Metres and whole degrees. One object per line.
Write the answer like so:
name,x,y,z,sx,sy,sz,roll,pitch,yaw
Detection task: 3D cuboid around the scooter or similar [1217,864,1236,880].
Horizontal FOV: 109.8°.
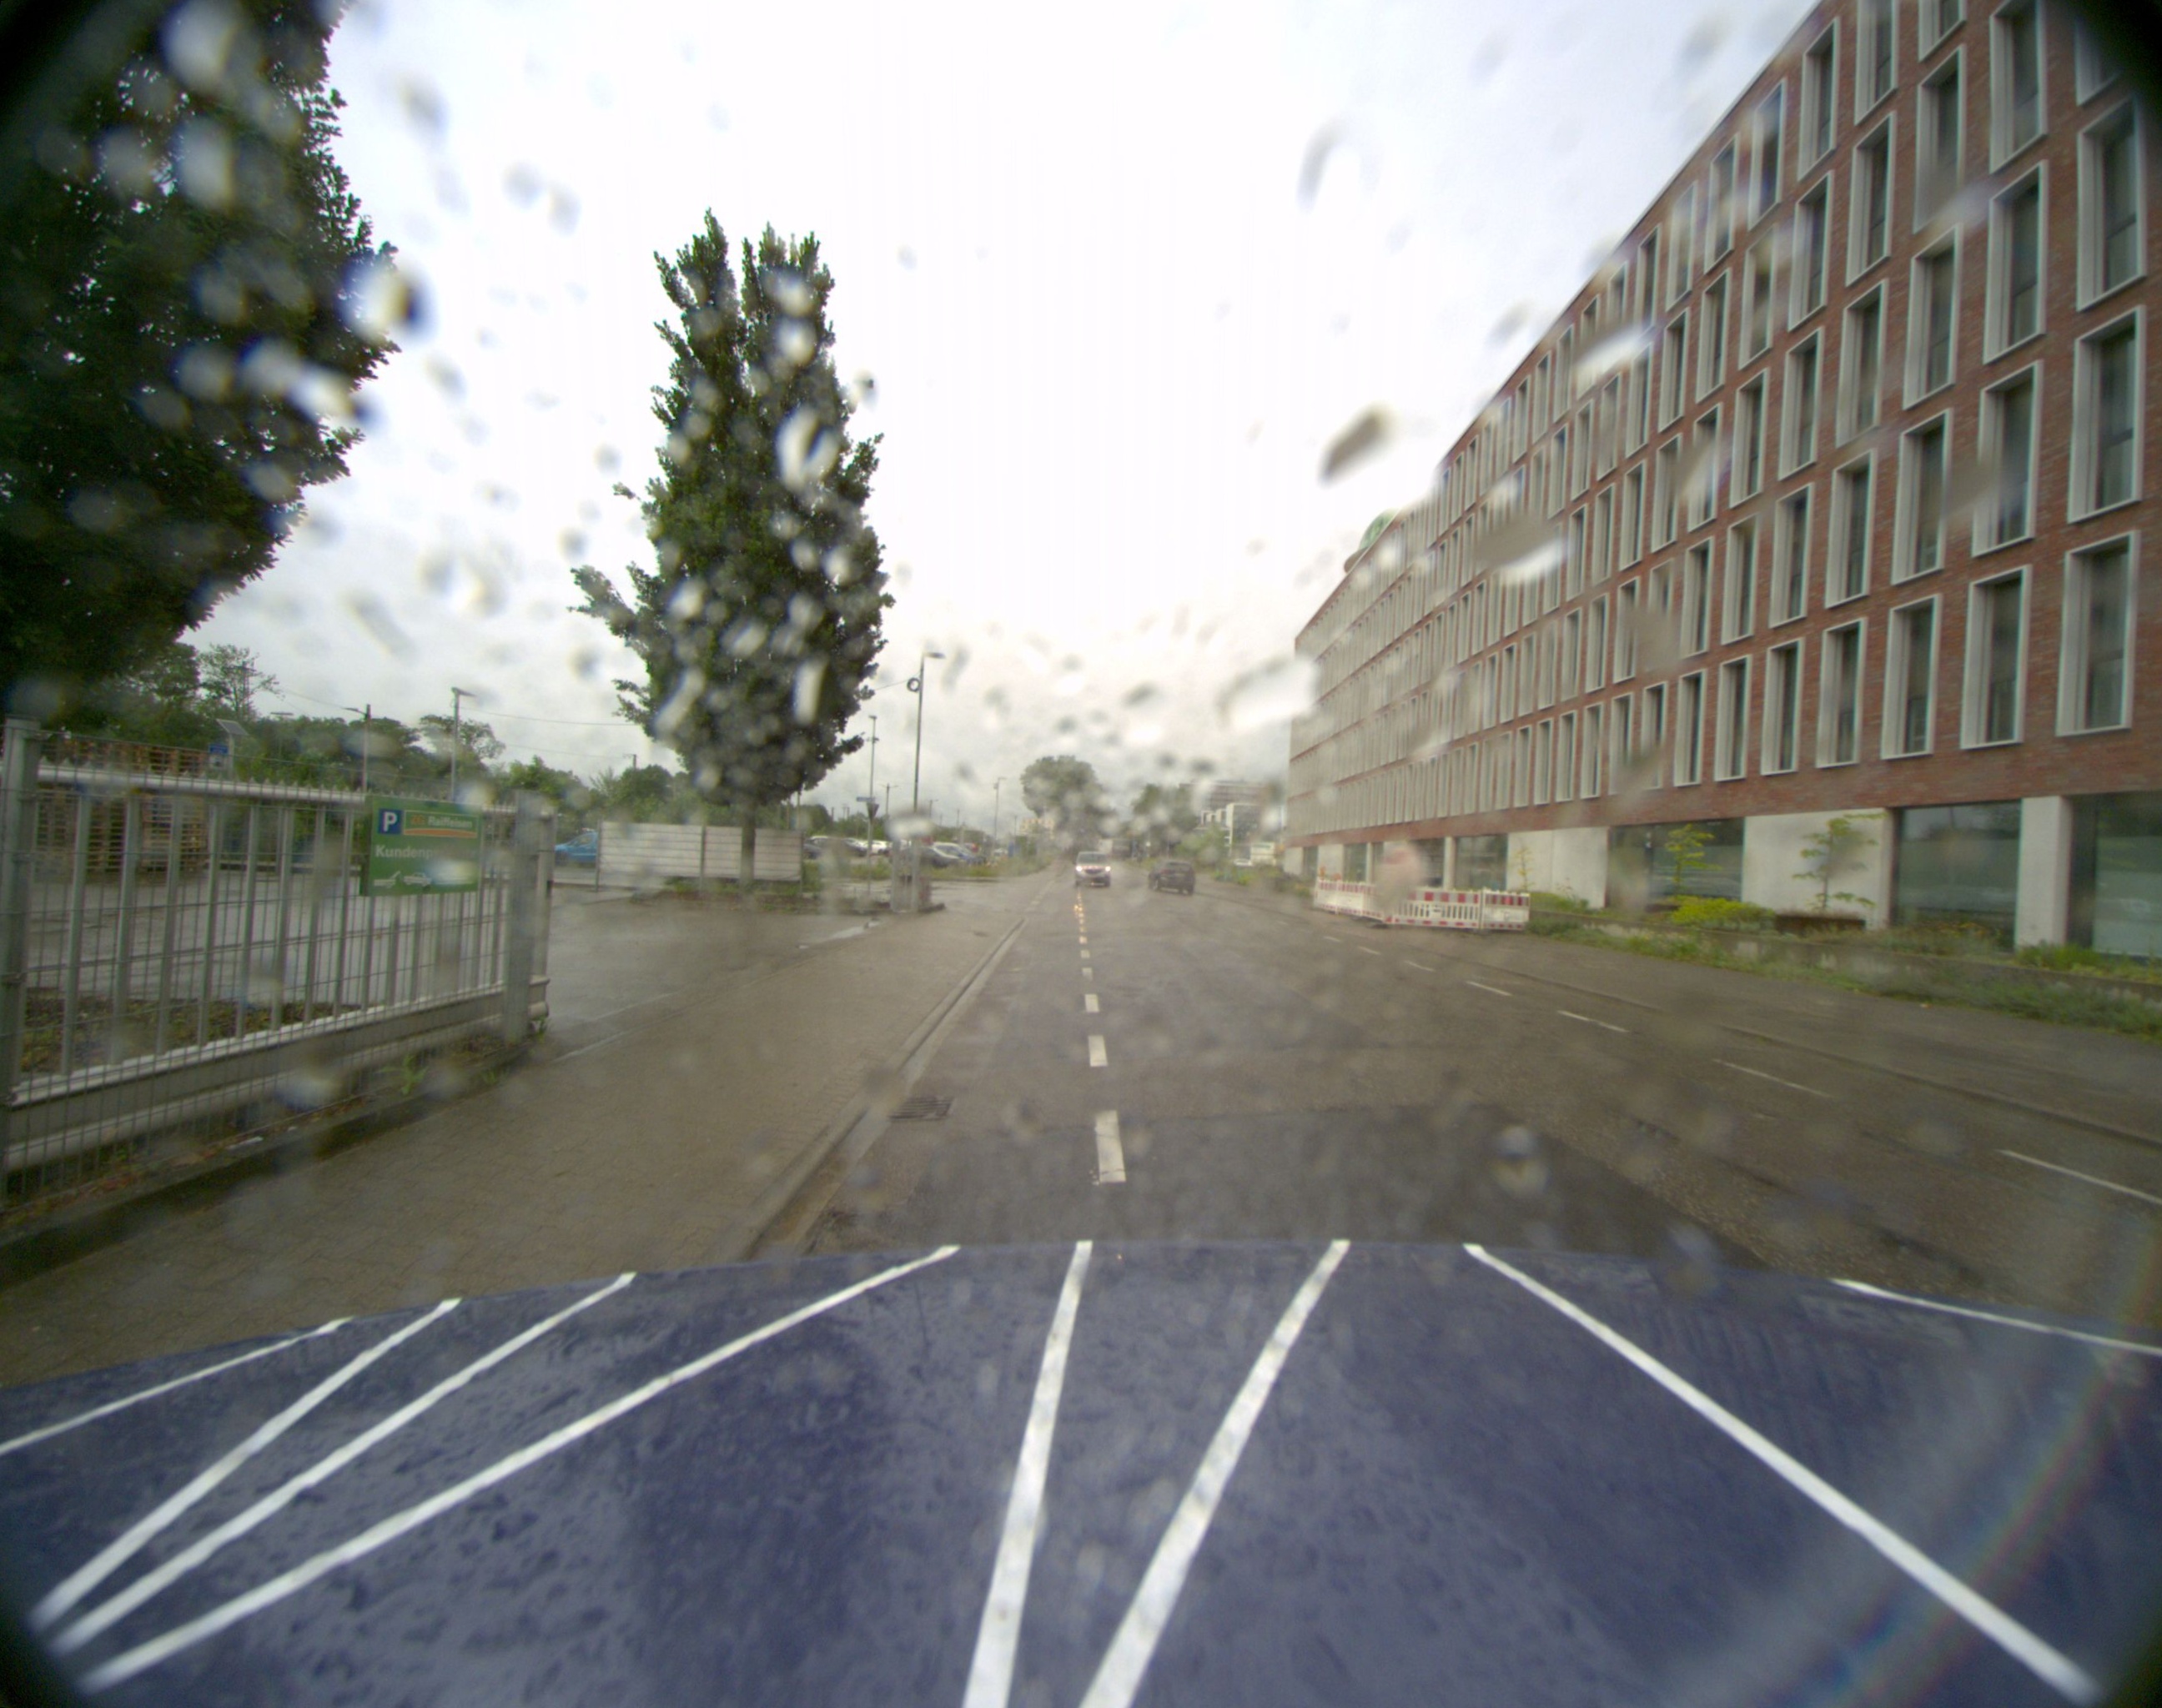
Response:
scooter or similar,11.978,1.481,62.509,1.316,1.223,0.509,4,1,38

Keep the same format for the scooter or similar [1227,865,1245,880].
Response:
scooter or similar,12.526,1.506,61.441,1.319,1.171,0.467,4,1,6

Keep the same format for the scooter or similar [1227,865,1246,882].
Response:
scooter or similar,12.192,1.532,59.584,1.321,1.171,0.467,4,1,-12

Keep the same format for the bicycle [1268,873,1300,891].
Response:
bicycle,12.884,1.751,48.258,1.864,1.071,0.544,1,1,-1

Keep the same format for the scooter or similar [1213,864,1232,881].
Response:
scooter or similar,11.044,1.415,59.181,1.317,1.223,0.468,4,1,29

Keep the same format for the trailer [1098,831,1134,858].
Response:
trailer,6.812,-1.686,143.072,3.297,4.627,13.751,4,1,16

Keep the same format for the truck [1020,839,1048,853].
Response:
truck,-8.893,-1.469,143.950,5.047,2.389,2.109,2,1,-2

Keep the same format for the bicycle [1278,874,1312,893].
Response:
bicycle,12.937,1.776,45.949,1.864,1.071,0.544,1,1,-1

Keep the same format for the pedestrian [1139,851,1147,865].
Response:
pedestrian,7.869,0.453,96.841,0.911,1.708,1.026,3,1,0

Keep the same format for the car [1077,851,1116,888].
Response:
car,0.749,0.765,38.948,1.838,1.714,4.172,3,0,0

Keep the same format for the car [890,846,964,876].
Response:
car,-9.322,0.406,46.269,4.231,1.392,1.888,5,1,-8

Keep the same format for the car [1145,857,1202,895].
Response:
car,4.466,1.037,37.462,1.765,1.559,4.146,5,0,-6

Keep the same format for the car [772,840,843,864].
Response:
car,-18.535,-0.134,51.587,3.997,1.401,1.999,2,2,1

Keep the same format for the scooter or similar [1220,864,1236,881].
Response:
scooter or similar,11.686,1.462,60.507,0.468,1.223,1.317,3,1,-29

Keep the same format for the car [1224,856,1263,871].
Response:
car,21.313,1.194,99.597,4.534,1.632,1.999,3,1,-3

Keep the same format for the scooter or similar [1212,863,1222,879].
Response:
scooter or similar,11.071,1.379,61.818,0.467,1.223,1.320,4,1,-3

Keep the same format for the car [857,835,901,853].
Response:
car,-20.603,-1.063,77.608,3.838,1.476,1.928,6,2,3

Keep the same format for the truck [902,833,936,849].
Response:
truck,-27.545,-2.211,129.254,5.302,2.354,2.152,4,1,0

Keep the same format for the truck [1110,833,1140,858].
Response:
truck,8.737,-1.670,149.287,3.295,4.627,6.046,4,1,30

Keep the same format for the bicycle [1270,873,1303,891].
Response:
bicycle,12.895,1.742,47.639,1.864,1.071,0.544,1,1,-1

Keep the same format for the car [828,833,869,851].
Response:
car,-26.865,-1.373,87.898,4.071,1.650,1.831,5,2,-2

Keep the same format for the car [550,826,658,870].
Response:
car,-23.241,-0.300,37.114,3.997,1.911,1.831,3,0,-1

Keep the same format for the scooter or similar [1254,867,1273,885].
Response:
scooter or similar,13.450,1.622,56.036,1.228,1.201,0.418,4,1,7

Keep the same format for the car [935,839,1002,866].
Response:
car,-8.670,-0.140,58.852,4.691,1.725,2.128,4,2,4

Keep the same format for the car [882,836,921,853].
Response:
car,-20.853,-1.143,88.387,3.912,1.575,1.786,6,2,3

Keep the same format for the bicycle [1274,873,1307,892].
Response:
bicycle,12.916,1.756,46.803,1.864,1.071,0.544,1,1,-1

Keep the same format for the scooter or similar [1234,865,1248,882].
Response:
scooter or similar,12.176,1.498,57.794,0.466,1.201,1.211,5,1,42

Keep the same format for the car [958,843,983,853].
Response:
car,-20.386,-1.192,140.179,4.075,1.482,1.925,5,2,2

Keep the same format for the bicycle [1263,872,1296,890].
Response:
bicycle,12.818,1.736,49.065,1.953,1.071,0.620,1,1,-1

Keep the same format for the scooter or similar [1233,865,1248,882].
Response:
scooter or similar,12.262,1.491,58.496,0.466,1.223,1.211,5,1,42

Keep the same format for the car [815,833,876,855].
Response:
car,-20.239,-0.901,65.517,4.633,1.706,2.017,2,2,-6

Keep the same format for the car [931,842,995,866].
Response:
car,-8.536,0.016,55.163,4.306,1.508,1.819,2,2,0

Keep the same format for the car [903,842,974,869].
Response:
car,-9.181,0.078,49.303,4.192,1.501,1.890,2,2,0

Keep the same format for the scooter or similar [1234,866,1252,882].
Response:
scooter or similar,12.971,1.576,60.879,1.319,1.171,0.467,4,1,6

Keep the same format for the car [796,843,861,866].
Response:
car,-18.216,0.013,54.925,3.997,1.477,1.999,2,2,1

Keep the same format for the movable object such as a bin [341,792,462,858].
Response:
movable object such as a bin,-33.146,-1.390,37.160,3.997,2.975,2.000,3,1,-1
